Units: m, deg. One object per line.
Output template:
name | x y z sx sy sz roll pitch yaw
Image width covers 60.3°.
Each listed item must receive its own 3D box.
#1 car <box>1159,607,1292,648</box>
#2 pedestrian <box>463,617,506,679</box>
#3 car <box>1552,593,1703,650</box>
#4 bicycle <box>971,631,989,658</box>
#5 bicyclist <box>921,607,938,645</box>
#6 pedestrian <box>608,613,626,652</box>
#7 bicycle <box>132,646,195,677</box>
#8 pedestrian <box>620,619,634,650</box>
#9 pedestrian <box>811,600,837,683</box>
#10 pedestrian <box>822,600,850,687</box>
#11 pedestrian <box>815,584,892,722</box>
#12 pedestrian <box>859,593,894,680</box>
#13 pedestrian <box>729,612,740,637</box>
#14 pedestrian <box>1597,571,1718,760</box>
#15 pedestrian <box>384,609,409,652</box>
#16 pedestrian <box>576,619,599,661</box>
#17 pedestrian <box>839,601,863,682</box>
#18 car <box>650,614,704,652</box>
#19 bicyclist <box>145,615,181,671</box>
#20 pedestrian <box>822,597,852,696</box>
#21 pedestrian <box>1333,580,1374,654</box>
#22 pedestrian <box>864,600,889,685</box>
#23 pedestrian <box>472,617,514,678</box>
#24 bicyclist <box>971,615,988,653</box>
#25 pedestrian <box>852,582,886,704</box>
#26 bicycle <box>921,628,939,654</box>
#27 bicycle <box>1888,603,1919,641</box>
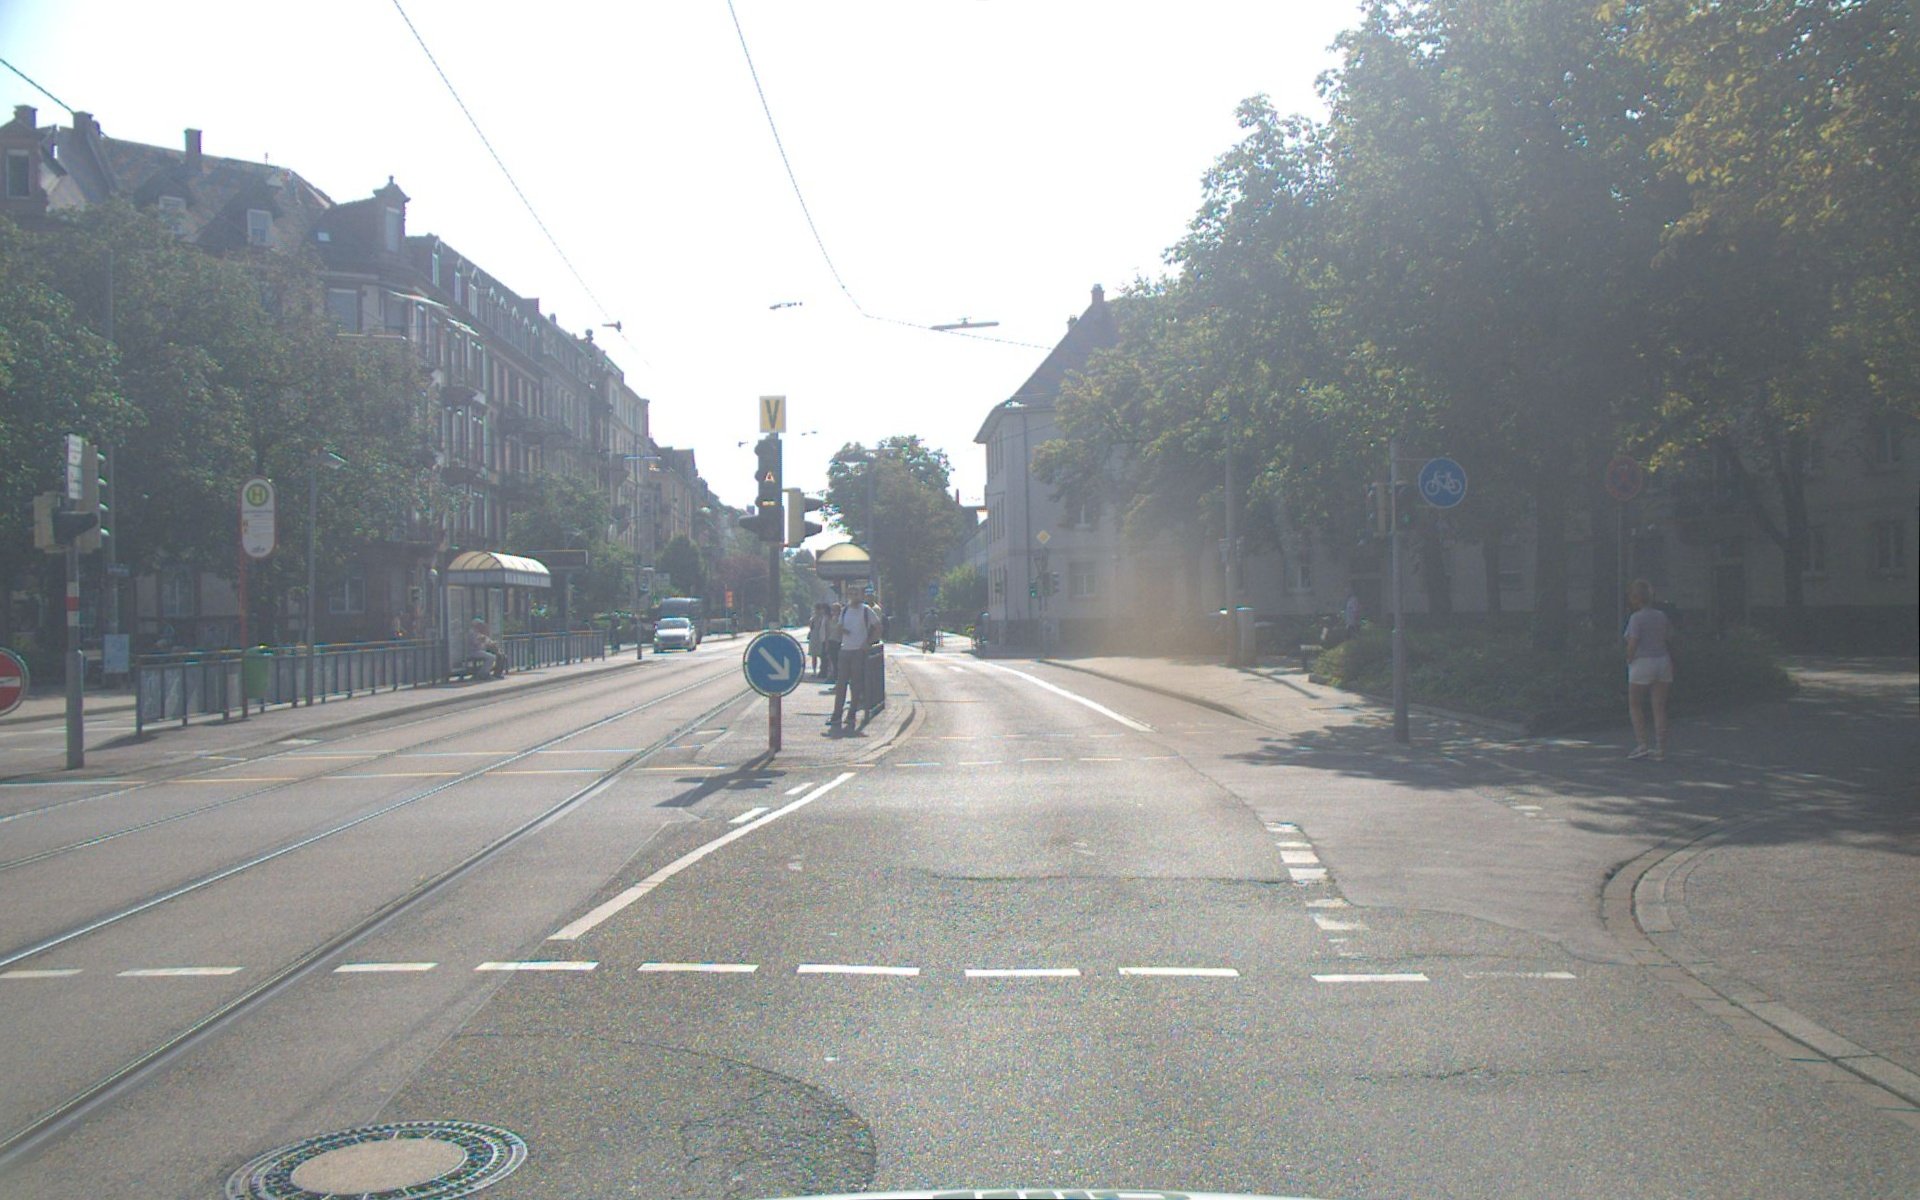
car | 9.421 0.985 58.874 4.250 1.343 1.992 -2 -1 37
pedestrian | -10.910 1.098 37.947 0.812 1.382 0.775 -1 -1 -7
car | 18.286 0.590 45.486 1.823 1.443 3.983 -1 0 -15
bicycle | 0.768 1.731 64.242 0.547 0.995 1.854 -1 0 -4
bicyclist | -1.263 1.085 68.476 0.616 1.534 0.678 -1 -1 -4
pedestrian | -15.653 1.482 75.507 0.736 1.761 0.769 -1 -1 -12
bicycle | -27.218 2.084 56.511 0.486 0.995 1.935 -2 -1 36
pedestrian | -18.808 1.952 93.439 0.736 1.761 0.769 -1 -1 -12
pedestrian | -3.036 0.920 36.891 0.521 1.790 0.545 1 2 -1
pedestrian | -2.593 0.901 34.683 0.532 1.790 0.534 1 2 -3
pedestrian | -1.397 0.677 21.755 0.687 1.755 0.746 2 2 30
pedestrian | -1.757 0.771 34.911 0.694 1.790 0.534 1 2 -3
pedestrian | -15.842 1.729 116.245 0.736 1.761 0.769 -1 -1 -12
pedestrian | 6.737 0.620 15.993 0.736 1.761 0.769 -1 -1 -12
pedestrian | -23.048 1.248 67.645 0.765 1.761 0.741 -1 -1 -41
pedestrian | -15.663 1.677 69.578 0.734 1.761 0.771 -1 -1 -1
pedestrian | -2.462 0.929 37.498 0.494 1.790 0.534 1 2 -3
car | -13.143 1.503 76.947 1.764 1.682 3.643 -1 -1 1
bicyclist | -27.231 1.469 56.516 0.483 1.890 0.986 -2 -1 36
pedestrian | -2.277 0.850 30.687 0.494 1.790 0.534 1 2 -3
pedestrian | 9.507 0.408 39.934 0.872 1.771 0.776 -1 -1 17
pedestrian | -1.794 0.906 35.526 0.494 1.790 0.534 1 2 -3
pedestrian | -10.978 1.109 38.921 0.812 1.382 0.775 -1 -1 -7
bicyclist | 0.751 1.326 64.259 0.547 1.441 0.871 -1 0 -4
pedestrian | -1.427 0.669 26.022 0.494 1.866 0.534 1 2 -3
bicycle | -1.255 1.692 68.472 0.616 0.995 1.768 -1 0 -4
bicycle | 25.371 0.573 43.965 0.416 0.995 1.554 -1 0 -5
